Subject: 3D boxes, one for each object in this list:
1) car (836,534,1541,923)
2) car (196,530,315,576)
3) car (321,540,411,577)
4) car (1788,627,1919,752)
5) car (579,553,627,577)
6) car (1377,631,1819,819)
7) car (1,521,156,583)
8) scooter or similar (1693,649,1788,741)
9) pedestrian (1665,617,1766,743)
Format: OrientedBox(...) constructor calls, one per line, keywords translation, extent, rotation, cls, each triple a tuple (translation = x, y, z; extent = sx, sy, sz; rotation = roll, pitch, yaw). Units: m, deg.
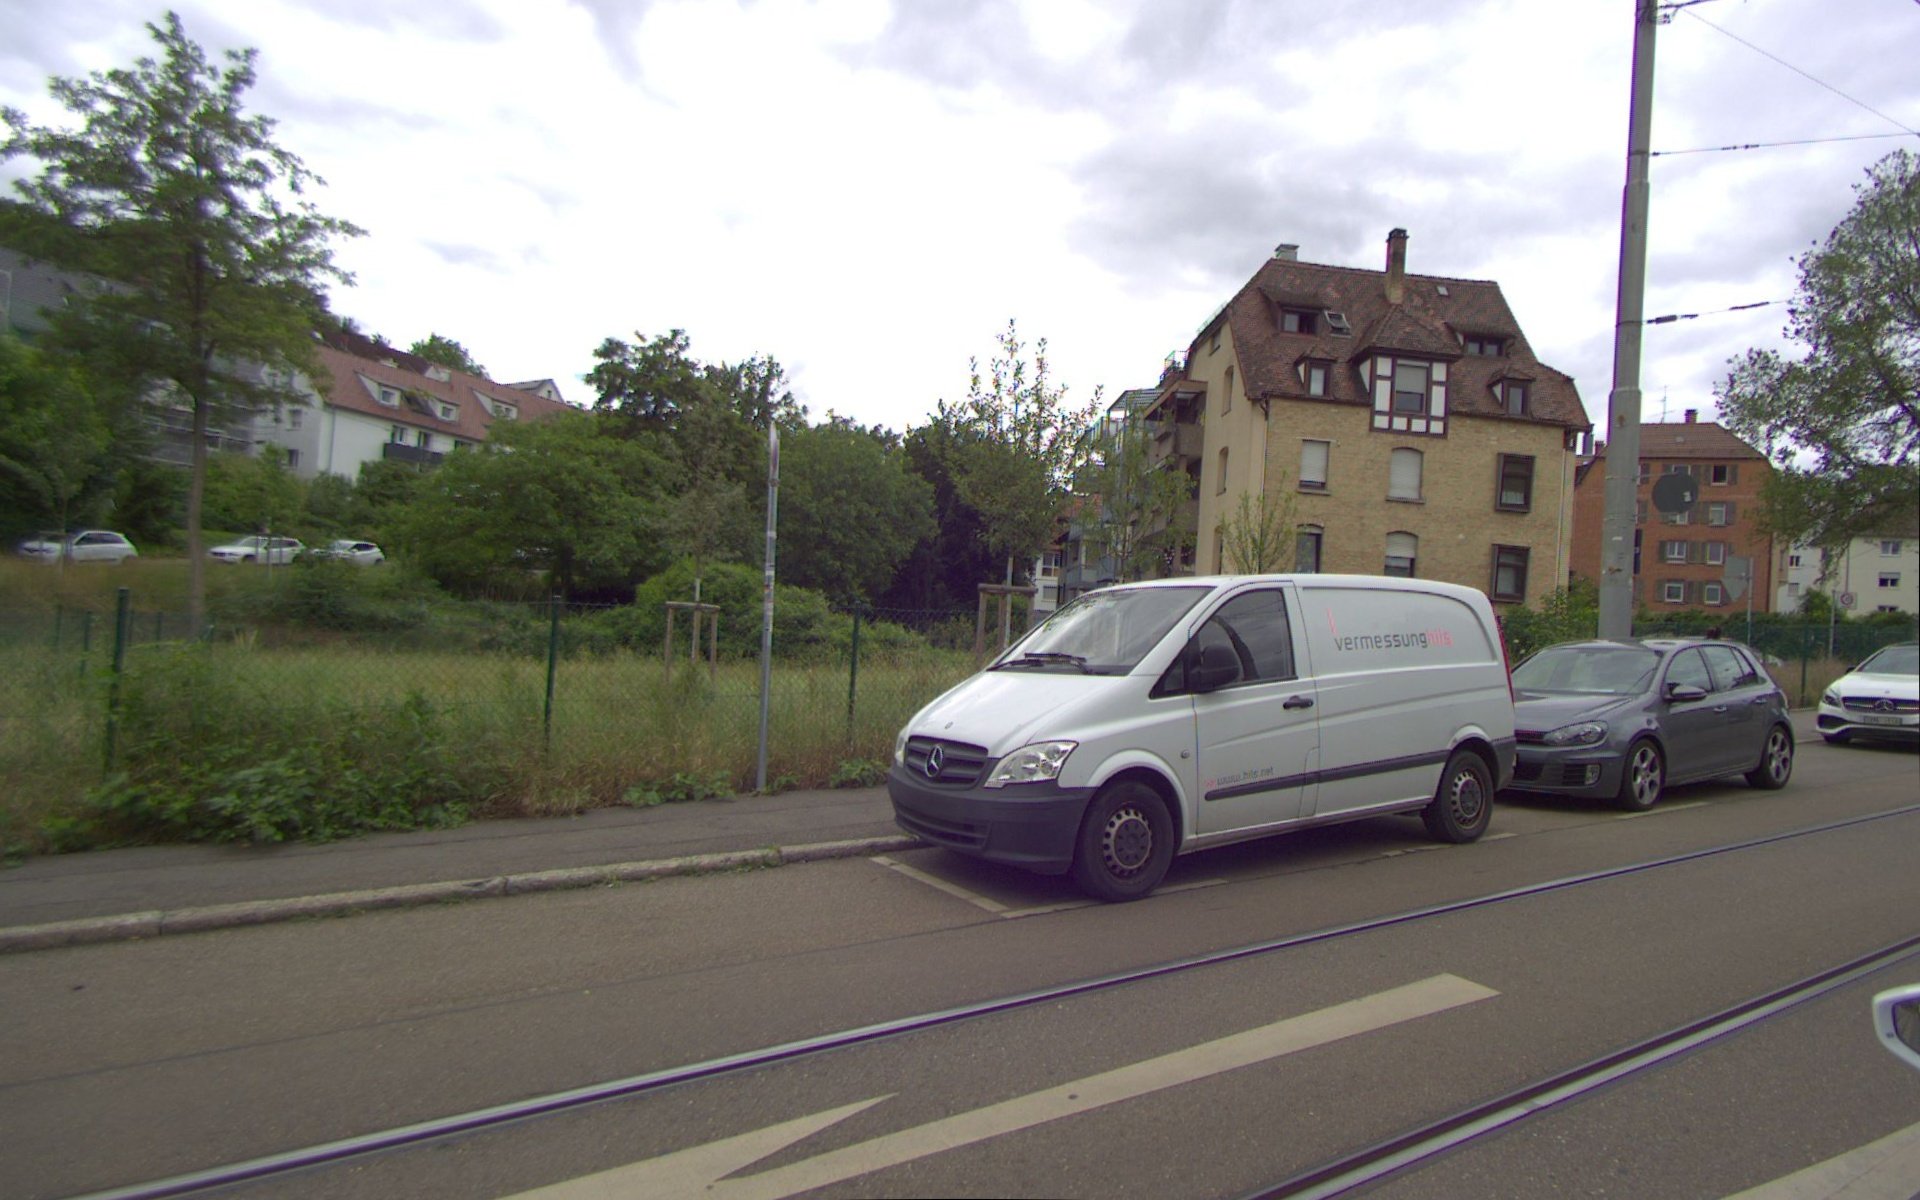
OrientedBox(translation=(1.763, 0.762, 7.095), extent=(4.831, 1.906, 2.025), rotation=(3, -3, -32), cls="car")
OrientedBox(translation=(-32.524, -2.132, 46.550), extent=(1.863, 1.812, 4.487), rotation=(2, 0, 9), cls="car")
OrientedBox(translation=(-31.394, -2.171, 53.191), extent=(1.800, 1.680, 4.135), rotation=(2, 0, 9), cls="car")
OrientedBox(translation=(13.762, 1.209, 14.092), extent=(4.609, 1.546, 1.876), rotation=(2, -2, -31), cls="car")
OrientedBox(translation=(-28.500, -2.768, 80.226), extent=(1.800, 1.680, 4.134), rotation=(2, 0, 9), cls="car")
OrientedBox(translation=(6.348, 1.064, 9.882), extent=(4.459, 1.451, 1.887), rotation=(2, -1, -31), cls="car")
OrientedBox(translation=(-33.705, -1.781, 38.556), extent=(1.942, 2.040, 4.134), rotation=(2, 0, 8), cls="car")
OrientedBox(translation=(11.188, 1.343, 14.405), extent=(0.830, 1.212, 0.800), rotation=(3, 0, -32), cls="scooter or similar")
OrientedBox(translation=(10.481, 1.084, 13.944), extent=(0.906, 1.650, 0.800), rotation=(2, 0, -32), cls="pedestrian")
